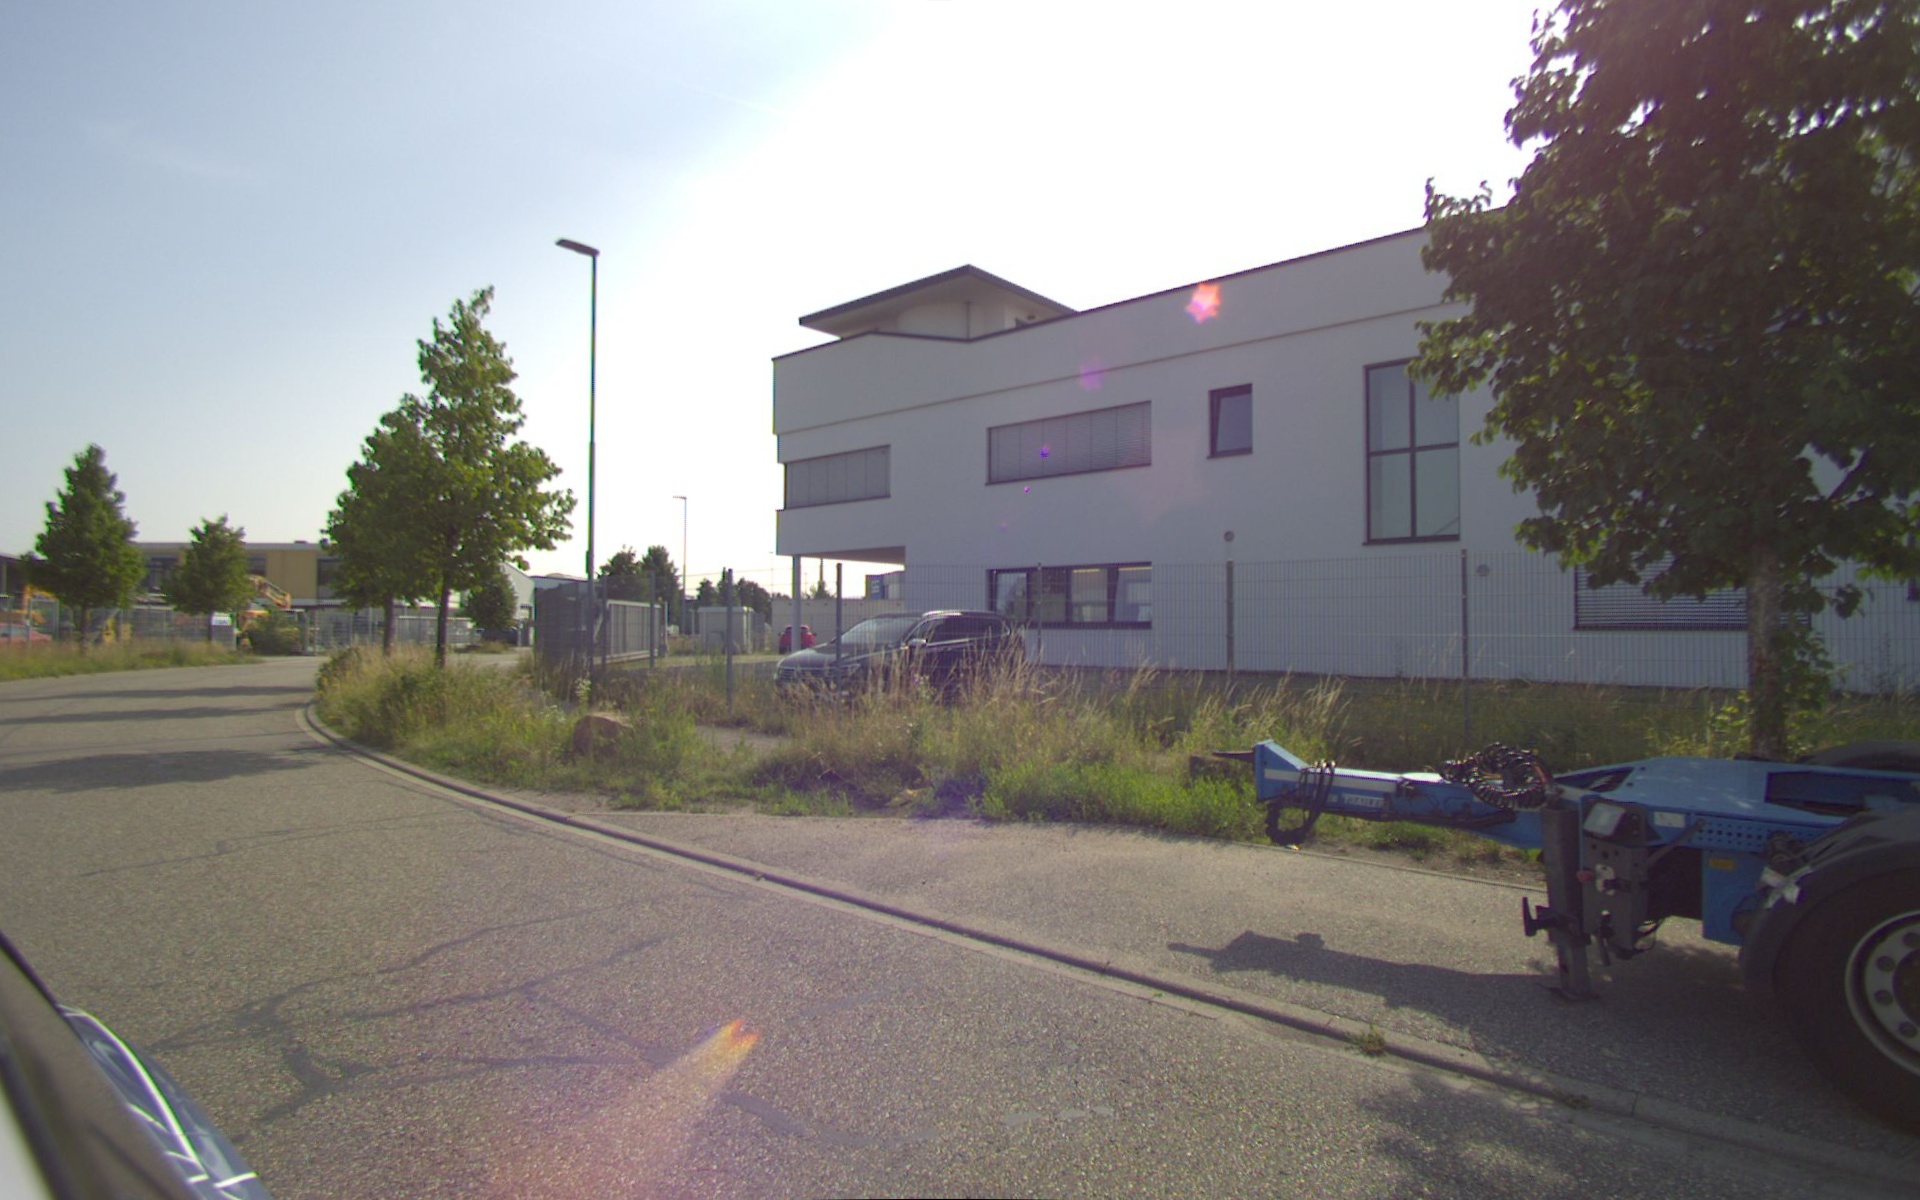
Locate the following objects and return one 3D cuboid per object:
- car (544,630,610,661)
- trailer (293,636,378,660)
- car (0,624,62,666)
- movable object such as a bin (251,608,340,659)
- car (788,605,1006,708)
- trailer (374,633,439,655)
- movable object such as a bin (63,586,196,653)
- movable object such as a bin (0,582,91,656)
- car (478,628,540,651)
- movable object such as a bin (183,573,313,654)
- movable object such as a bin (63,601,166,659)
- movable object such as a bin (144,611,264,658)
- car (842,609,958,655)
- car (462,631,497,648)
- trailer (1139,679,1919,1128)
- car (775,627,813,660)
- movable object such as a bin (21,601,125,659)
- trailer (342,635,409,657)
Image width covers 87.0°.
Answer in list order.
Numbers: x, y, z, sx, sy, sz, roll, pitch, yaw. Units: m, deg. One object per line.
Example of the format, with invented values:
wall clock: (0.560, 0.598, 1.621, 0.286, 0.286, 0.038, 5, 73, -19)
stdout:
car: (-20.069, 2.336, 53.242, 1.970, 1.478, 4.435, -2, -1, -3)
trailer: (-34.771, 2.636, 56.503, 2.100, 1.253, 4.801, 0, -2, -5)
car: (-32.973, 1.512, 33.956, 1.857, 1.368, 4.780, 0, -2, -7)
movable object such as a bin: (-37.708, 1.903, 57.630, 1.865, 2.773, 5.163, 0, -2, -3)
car: (-0.917, 0.832, 16.280, 1.595, 1.465, 3.458, -2, -1, 39)
trailer: (-36.110, 2.849, 66.137, 1.971, 1.320, 4.566, 0, -1, -3)
movable object such as a bin: (-52.347, 1.291, 64.090, 2.883, 3.959, 7.215, 1, -2, -5)
movable object such as a bin: (-51.408, 1.077, 55.560, 2.653, 3.903, 5.721, 0, -2, -3)
car: (-35.710, 3.113, 80.148, 4.169, 1.750, 1.903, 0, -2, -10)
movable object such as a bin: (-45.065, 0.937, 64.398, 3.276, 4.843, 7.681, 0, -2, -5)
movable object such as a bin: (-46.248, 1.640, 55.489, 1.970, 3.055, 4.495, 0, -2, -3)
movable object such as a bin: (-42.438, 1.916, 57.036, 2.889, 2.510, 5.342, 0, -2, -3)
car: (-2.025, 1.045, 33.358, 3.920, 1.426, 1.541, -2, -2, 42)
car: (-45.851, 3.790, 96.680, 1.865, 1.568, 4.378, 0, -2, -9)
trailer: (3.594, 0.978, 3.837, 5.199, 1.108, 2.547, -2, -2, 41)
car: (-8.129, 2.137, 49.575, 1.747, 1.537, 4.312, 0, -3, -9)
movable object such as a bin: (-48.558, 1.670, 55.565, 1.970, 3.055, 4.376, 0, -2, -3)
trailer: (-35.427, 2.786, 61.470, 1.921, 1.253, 4.298, 0, -2, -5)
